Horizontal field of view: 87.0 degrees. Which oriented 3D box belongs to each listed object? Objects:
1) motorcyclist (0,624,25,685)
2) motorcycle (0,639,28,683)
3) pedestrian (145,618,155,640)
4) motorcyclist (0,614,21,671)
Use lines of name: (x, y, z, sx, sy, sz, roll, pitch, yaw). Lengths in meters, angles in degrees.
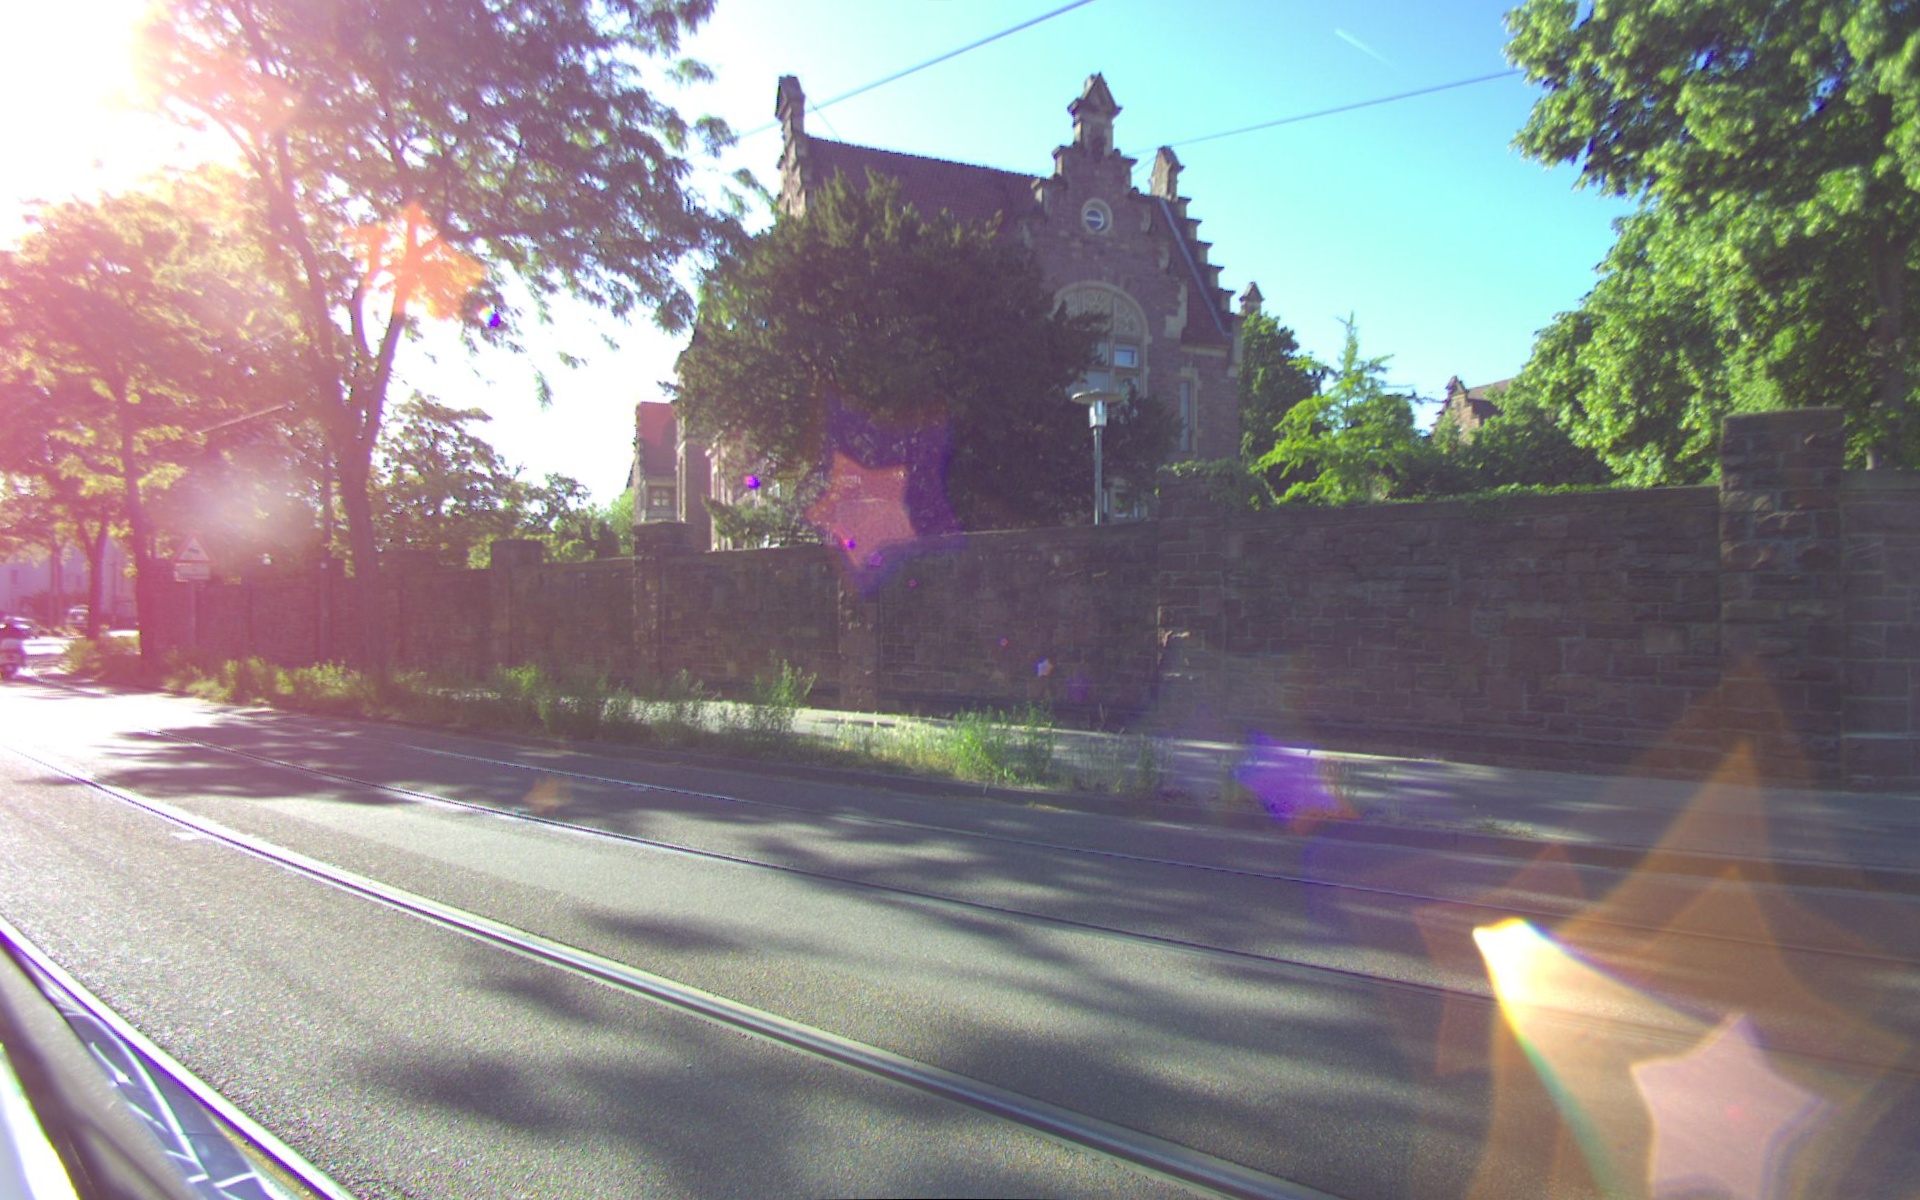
motorcyclist: (-24.281, 1.382, 25.776, 0.464, 1.527, 0.602, -1, -1, 32)
motorcycle: (-24.682, 1.555, 26.042, 1.851, 1.101, 0.604, -1, -1, 33)
pedestrian: (-87.434, 3.120, 109.283, 0.756, 2.385, 0.929, -1, 0, -33)
motorcyclist: (-24.694, 1.102, 26.051, 0.445, 1.451, 0.678, -1, -1, 34)
